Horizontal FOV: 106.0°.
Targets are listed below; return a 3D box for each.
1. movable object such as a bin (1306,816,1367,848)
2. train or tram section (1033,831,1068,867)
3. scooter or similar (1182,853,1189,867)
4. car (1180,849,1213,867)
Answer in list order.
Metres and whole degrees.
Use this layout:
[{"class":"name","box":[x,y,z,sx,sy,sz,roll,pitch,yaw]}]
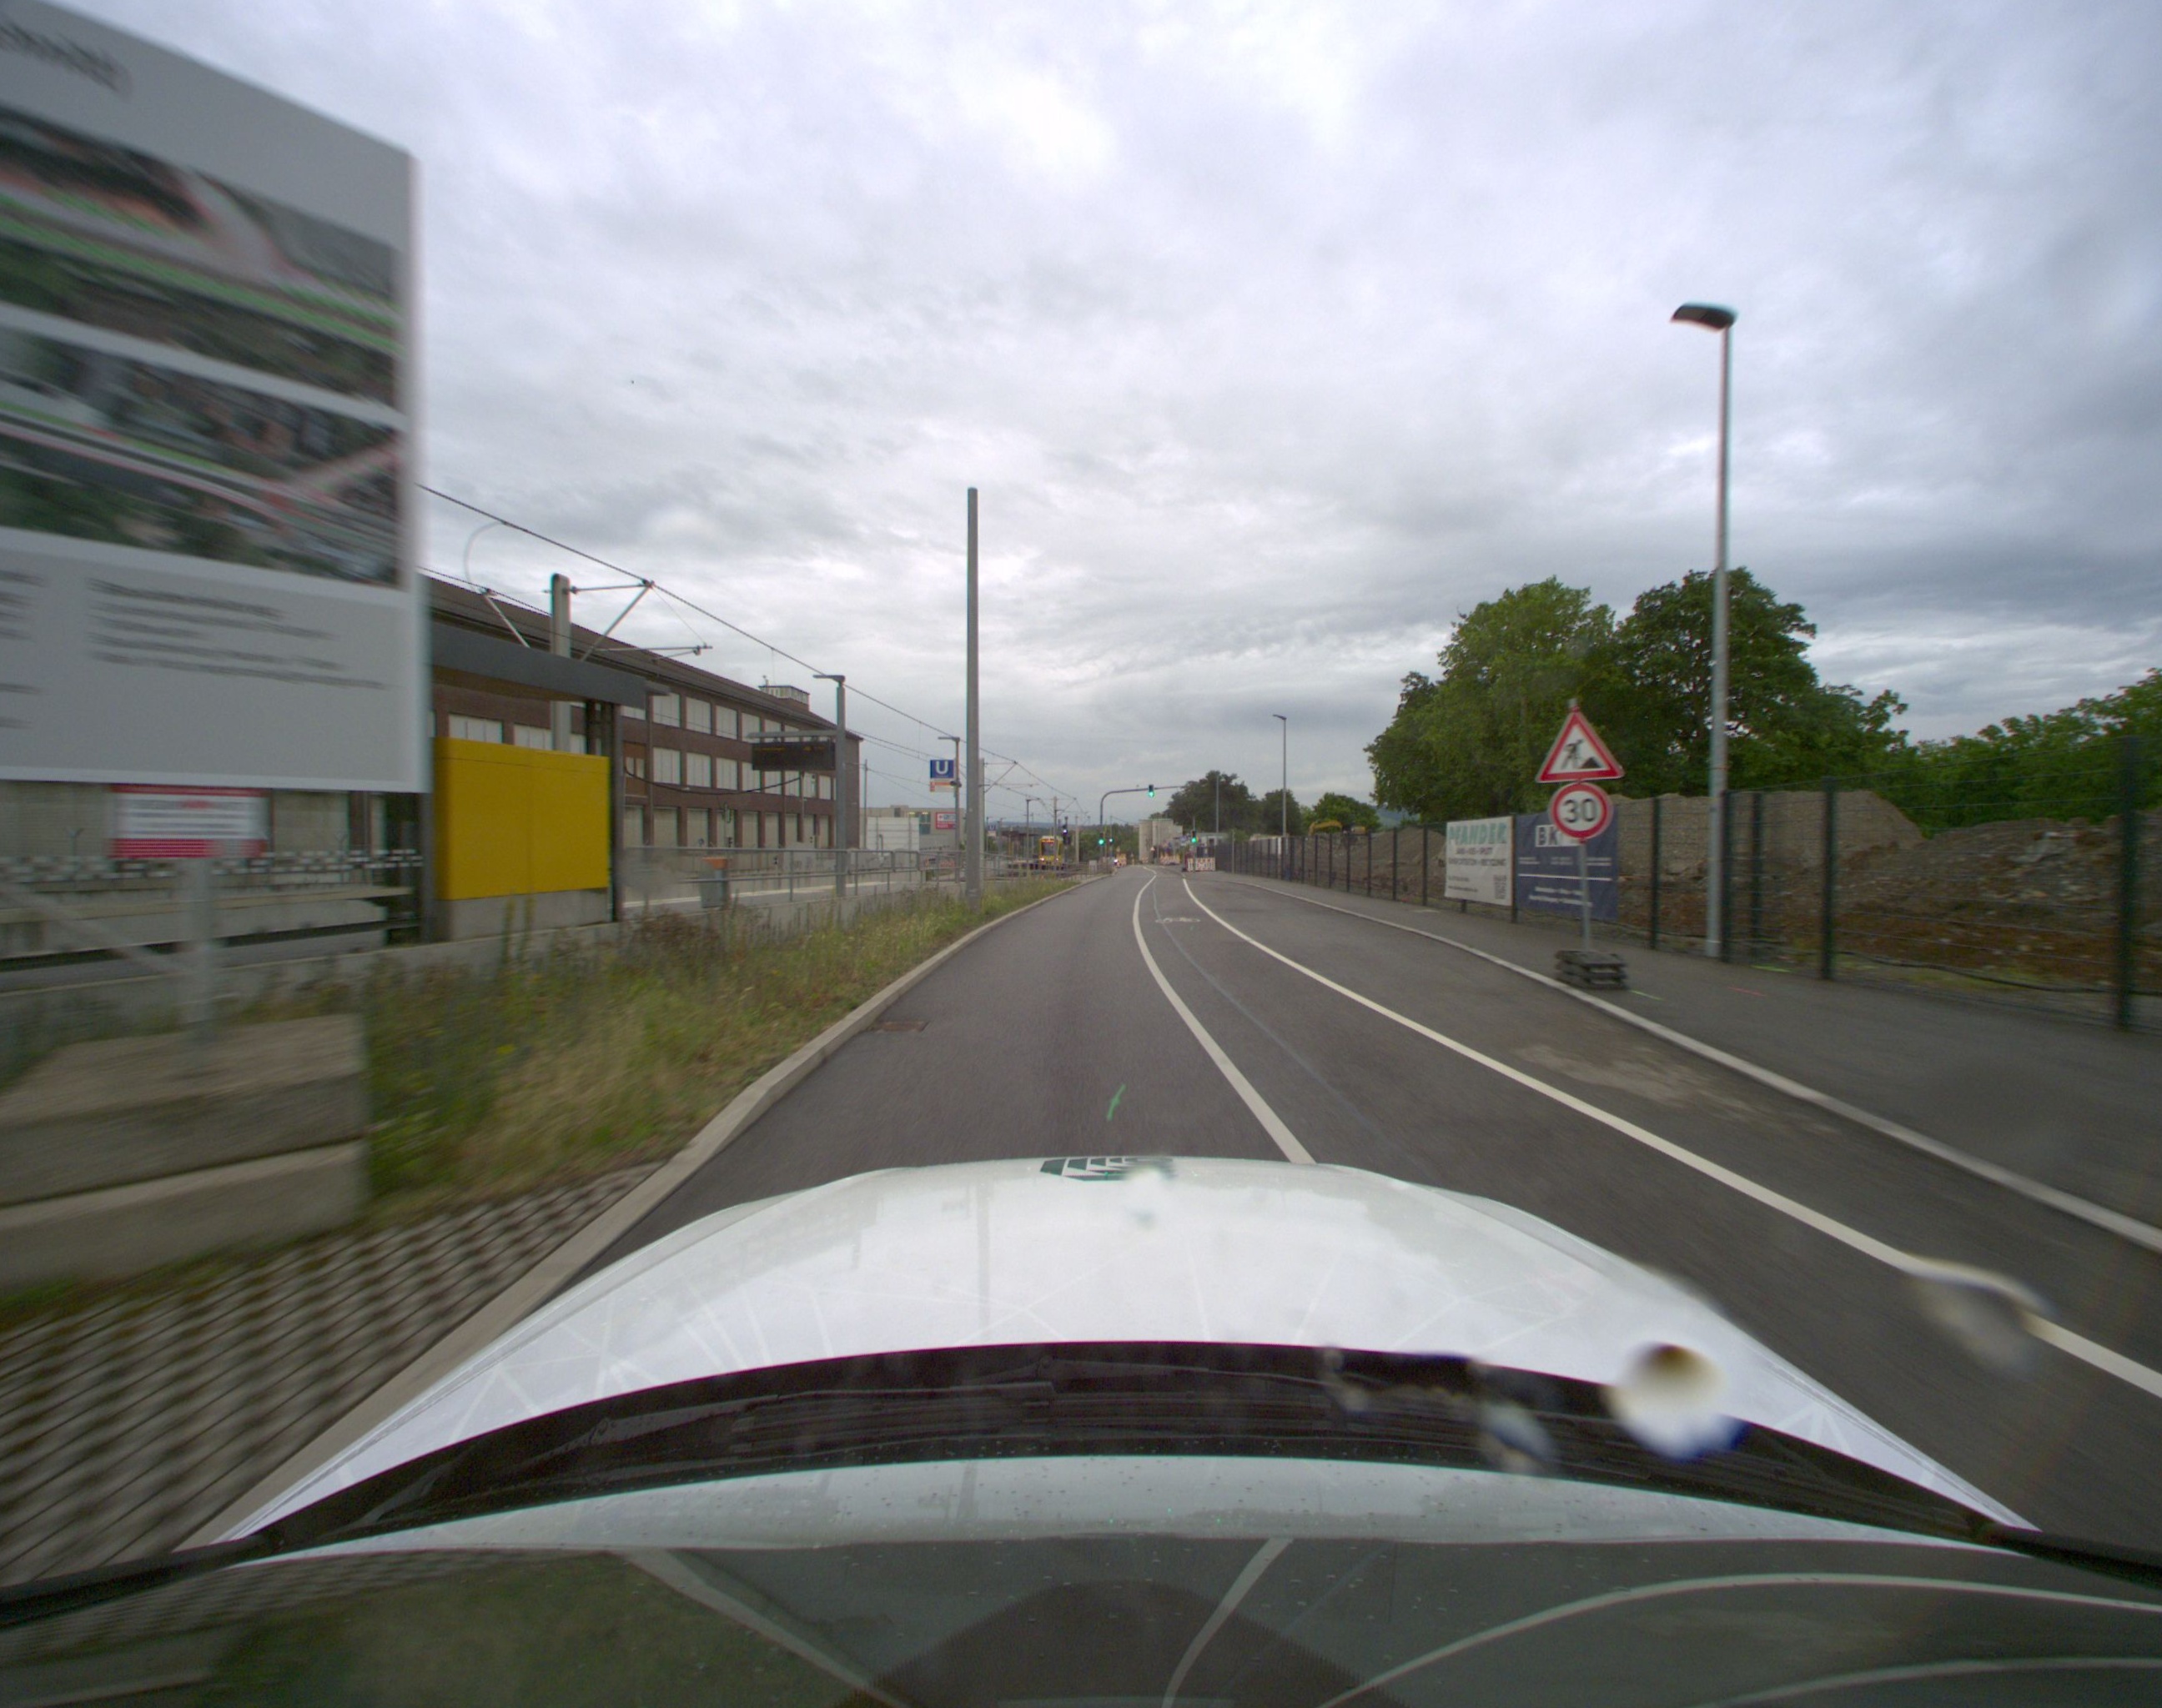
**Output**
[{"class":"movable object such as a bin","box":[51.097,-4.386,163.186,11.161,5.995,3.501,-2,-1,10]},{"class":"train or tram section","box":[-3.479,-0.517,99.278,2.944,3.886,19.578,0,0,2]},{"class":"scooter or similar","box":[10.511,0.623,81.924,0.611,1.351,1.917,-1,0,9]},{"class":"car","box":[12.493,0.420,87.949,1.802,1.794,4.437,-1,0,33]}]
